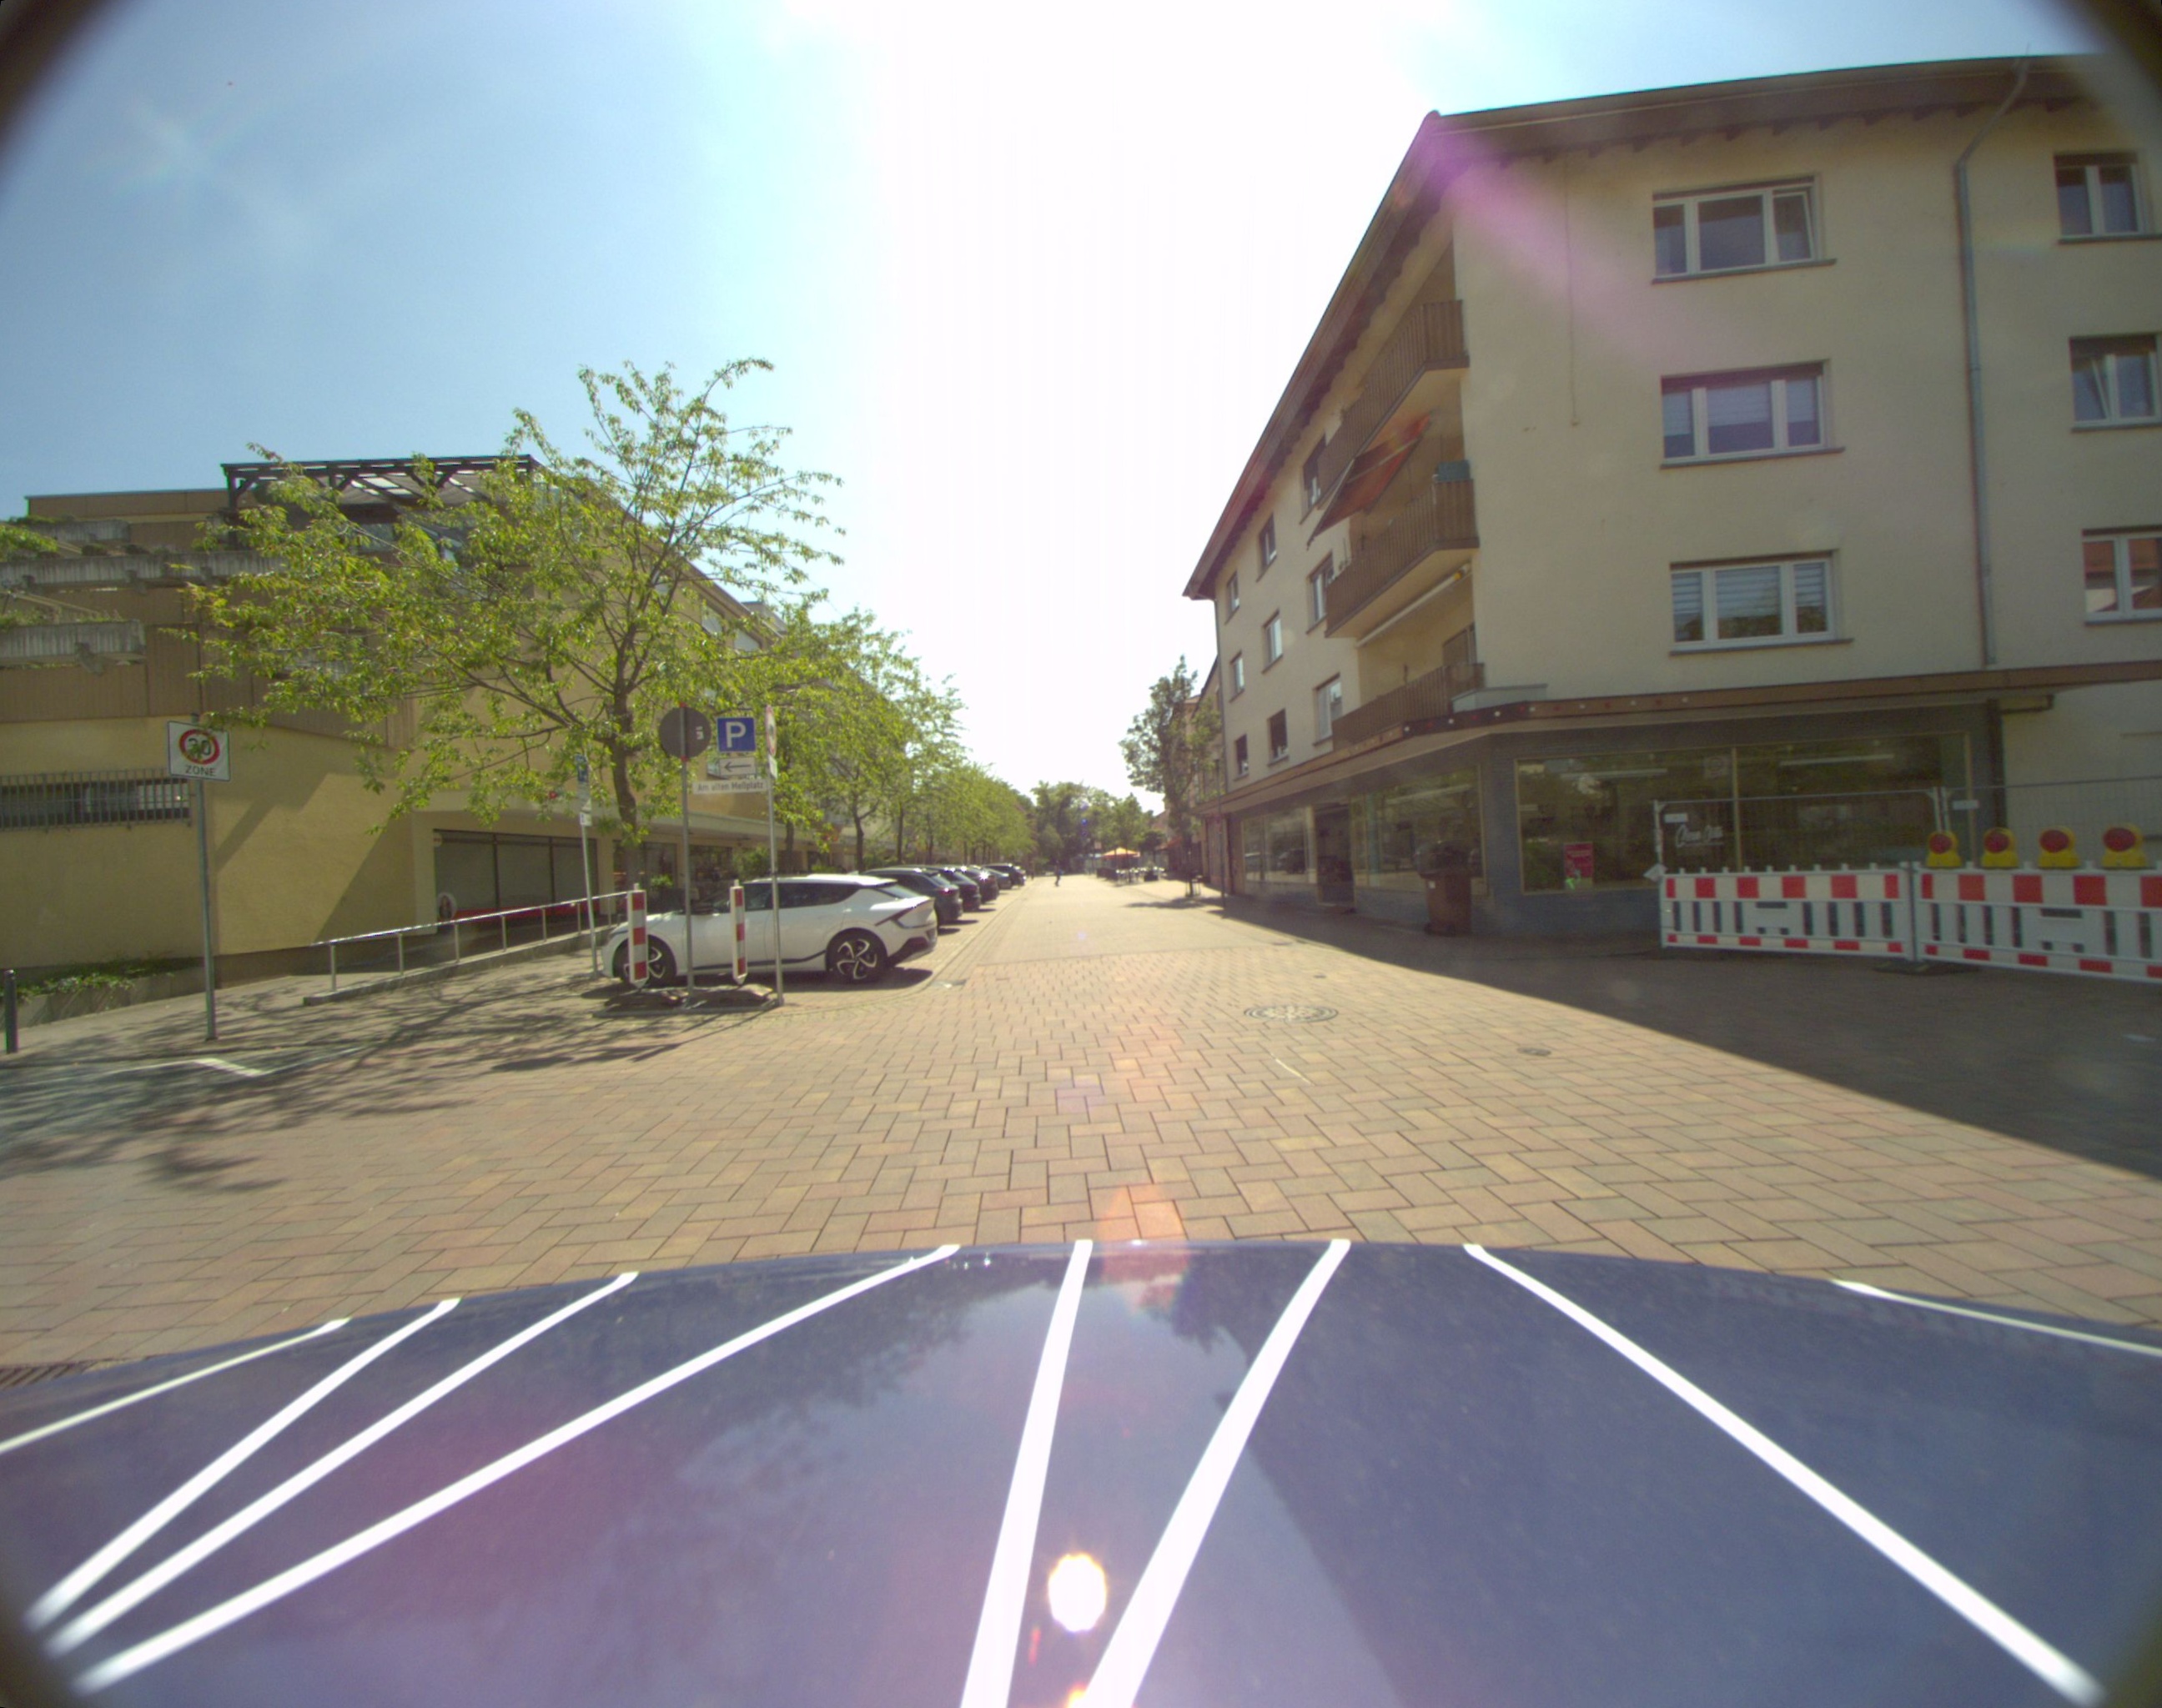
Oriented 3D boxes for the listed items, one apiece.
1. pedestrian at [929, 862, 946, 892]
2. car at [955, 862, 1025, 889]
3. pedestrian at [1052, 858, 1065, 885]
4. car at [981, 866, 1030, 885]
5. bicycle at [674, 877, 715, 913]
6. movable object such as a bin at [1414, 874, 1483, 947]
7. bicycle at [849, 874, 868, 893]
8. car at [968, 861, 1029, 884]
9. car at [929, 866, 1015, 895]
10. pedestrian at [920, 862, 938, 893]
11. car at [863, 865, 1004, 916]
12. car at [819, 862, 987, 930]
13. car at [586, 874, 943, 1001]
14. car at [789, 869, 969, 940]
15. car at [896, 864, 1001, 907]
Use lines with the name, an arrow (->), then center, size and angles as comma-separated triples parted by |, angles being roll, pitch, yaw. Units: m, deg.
pedestrian -> -8.644, 1.374, 45.818 | 0.614, 1.720, 0.649 | -4, 1, 32
car -> -5.762, 1.343, 48.434 | 4.255, 1.608, 1.756 | -2, 0, -3
pedestrian -> -1.545, 1.198, 52.634 | 0.759, 1.770, 0.870 | -3, 0, 5
car -> -6.156, 1.721, 62.304 | 3.801, 1.423, 1.614 | -2, 0, -1
bicycle -> -13.054, 1.368, 25.700 | 0.413, 1.117, 1.774 | -4, 0, 0
movable object such as a bin -> 5.793, 0.871, 12.010 | 0.657, 1.064, 0.663 | -4, 0, -9
bicycle -> -13.653, 1.798, 46.694 | 0.643, 1.075, 1.866 | -4, 0, -2
car -> -6.466, 1.457, 59.764 | 4.587, 1.534, 1.806 | -3, 0, -1
car -> -6.088, 1.459, 42.308 | 4.391, 1.454, 1.887 | -1, -1, -20
pedestrian -> -8.882, 1.397, 44.406 | 0.633, 1.762, 0.685 | -4, 0, -40
car -> -5.052, 1.258, 26.504 | 4.519, 1.579, 1.850 | -2, 0, 0
car -> -4.882, 1.140, 21.401 | 4.291, 1.671, 2.000 | -2, 0, -4
car -> -4.427, 1.149, 11.171 | 4.452, 1.566, 1.788 | -1, 0, -2
car -> -4.830, 1.188, 18.625 | 3.955, 1.525, 1.823 | -1, 0, -3
car -> -5.395, 1.269, 31.361 | 4.038, 1.602, 1.681 | -1, 0, -3
